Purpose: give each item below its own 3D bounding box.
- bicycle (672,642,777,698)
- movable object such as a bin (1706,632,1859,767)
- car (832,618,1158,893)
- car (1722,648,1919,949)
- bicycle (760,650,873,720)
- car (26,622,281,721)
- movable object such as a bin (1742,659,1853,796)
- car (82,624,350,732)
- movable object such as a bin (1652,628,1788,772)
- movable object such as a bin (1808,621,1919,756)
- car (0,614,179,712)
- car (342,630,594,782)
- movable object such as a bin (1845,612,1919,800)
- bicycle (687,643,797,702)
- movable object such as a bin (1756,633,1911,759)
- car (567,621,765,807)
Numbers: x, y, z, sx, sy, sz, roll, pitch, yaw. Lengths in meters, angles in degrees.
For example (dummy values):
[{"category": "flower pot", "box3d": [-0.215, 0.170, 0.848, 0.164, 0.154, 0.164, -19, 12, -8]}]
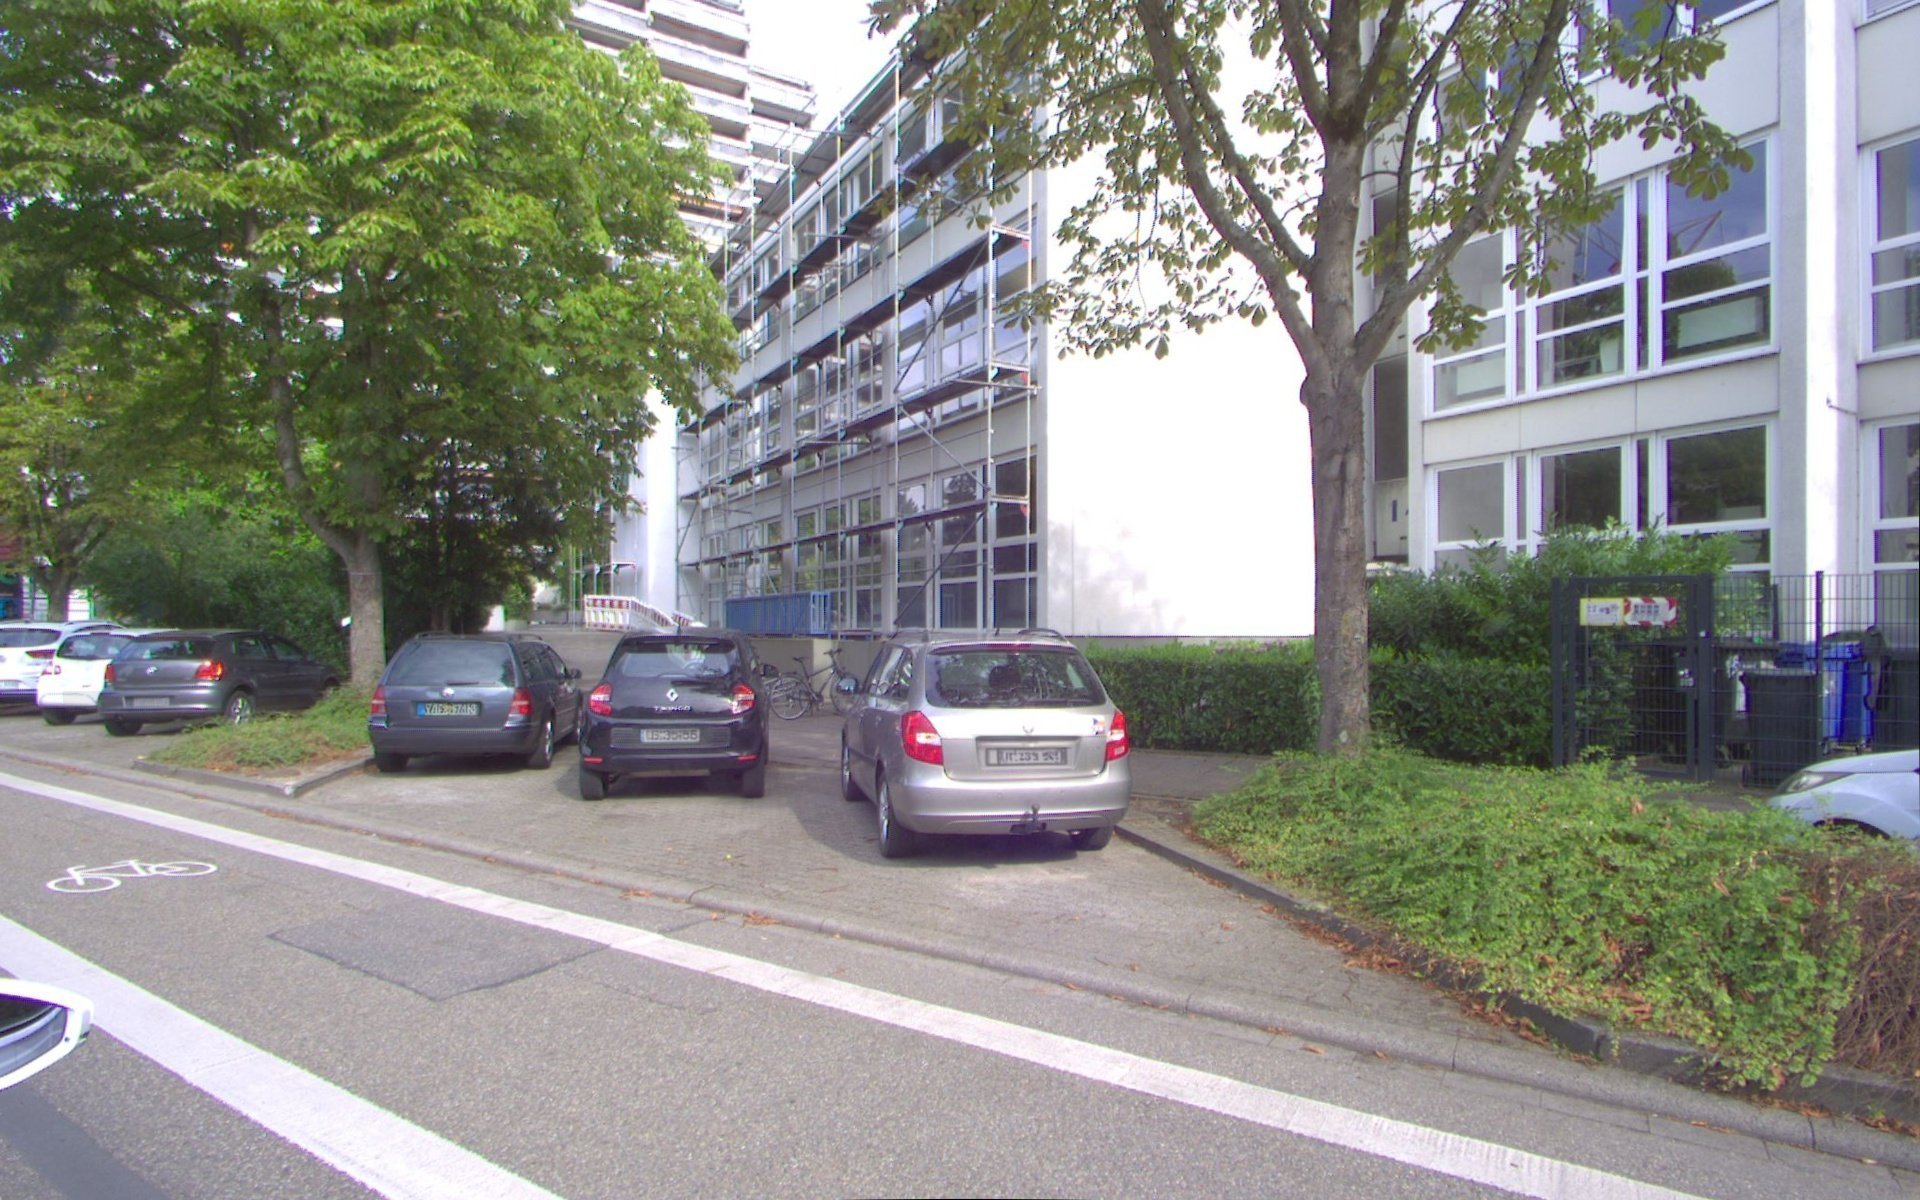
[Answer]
[{"category": "bicycle", "box3d": [-4.628, 1.357, 19.693, 1.944, 1.057, 0.593, 1, -1, -20]}, {"category": "movable object such as a bin", "box3d": [9.241, 1.069, 11.264, 1.050, 1.409, 1.111, 1, -1, -36]}, {"category": "car", "box3d": [-0.018, 0.955, 7.826, 1.566, 1.557, 4.049, 1, -2, -13]}, {"category": "car", "box3d": [5.571, 0.938, 4.028, 1.604, 1.411, 3.858, 1, -2, -13]}, {"category": "bicycle", "box3d": [-2.369, 1.386, 16.604, 1.813, 1.057, 0.451, 0, 0, -29]}, {"category": "car", "box3d": [-13.431, 1.133, 16.969, 1.650, 1.493, 3.647, 0, -2, -6]}, {"category": "movable object such as a bin", "box3d": [7.464, 1.104, 8.959, 0.734, 1.119, 0.781, 0, -1, 38]}, {"category": "car", "box3d": [-11.092, 1.105, 15.268, 1.650, 1.438, 3.647, 0, -2, -6]}, {"category": "movable object such as a bin", "box3d": [8.079, 1.017, 10.651, 1.012, 1.425, 0.906, 1, -1, -36]}, {"category": "movable object such as a bin", "box3d": [11.568, 1.070, 12.579, 1.160, 1.588, 1.171, 1, -1, -36]}, {"category": "car", "box3d": [-16.288, 1.100, 18.380, 1.651, 1.623, 3.644, 0, -2, -12]}, {"category": "car", "box3d": [-5.517, 1.083, 11.797, 1.783, 1.433, 4.166, 0, -2, -14]}, {"category": "movable object such as a bin", "box3d": [8.601, 0.885, 8.574, 1.397, 1.549, 1.322, -1, -1, 37]}, {"category": "bicycle", "box3d": [-4.108, 1.347, 18.959, 1.949, 1.057, 0.591, 1, -1, -30]}, {"category": "movable object such as a bin", "box3d": [10.385, 1.096, 11.918, 1.160, 1.388, 1.171, 1, -1, -36]}, {"category": "car", "box3d": [-2.812, 1.009, 10.201, 1.566, 1.557, 3.416, 1, -1, -10]}]
